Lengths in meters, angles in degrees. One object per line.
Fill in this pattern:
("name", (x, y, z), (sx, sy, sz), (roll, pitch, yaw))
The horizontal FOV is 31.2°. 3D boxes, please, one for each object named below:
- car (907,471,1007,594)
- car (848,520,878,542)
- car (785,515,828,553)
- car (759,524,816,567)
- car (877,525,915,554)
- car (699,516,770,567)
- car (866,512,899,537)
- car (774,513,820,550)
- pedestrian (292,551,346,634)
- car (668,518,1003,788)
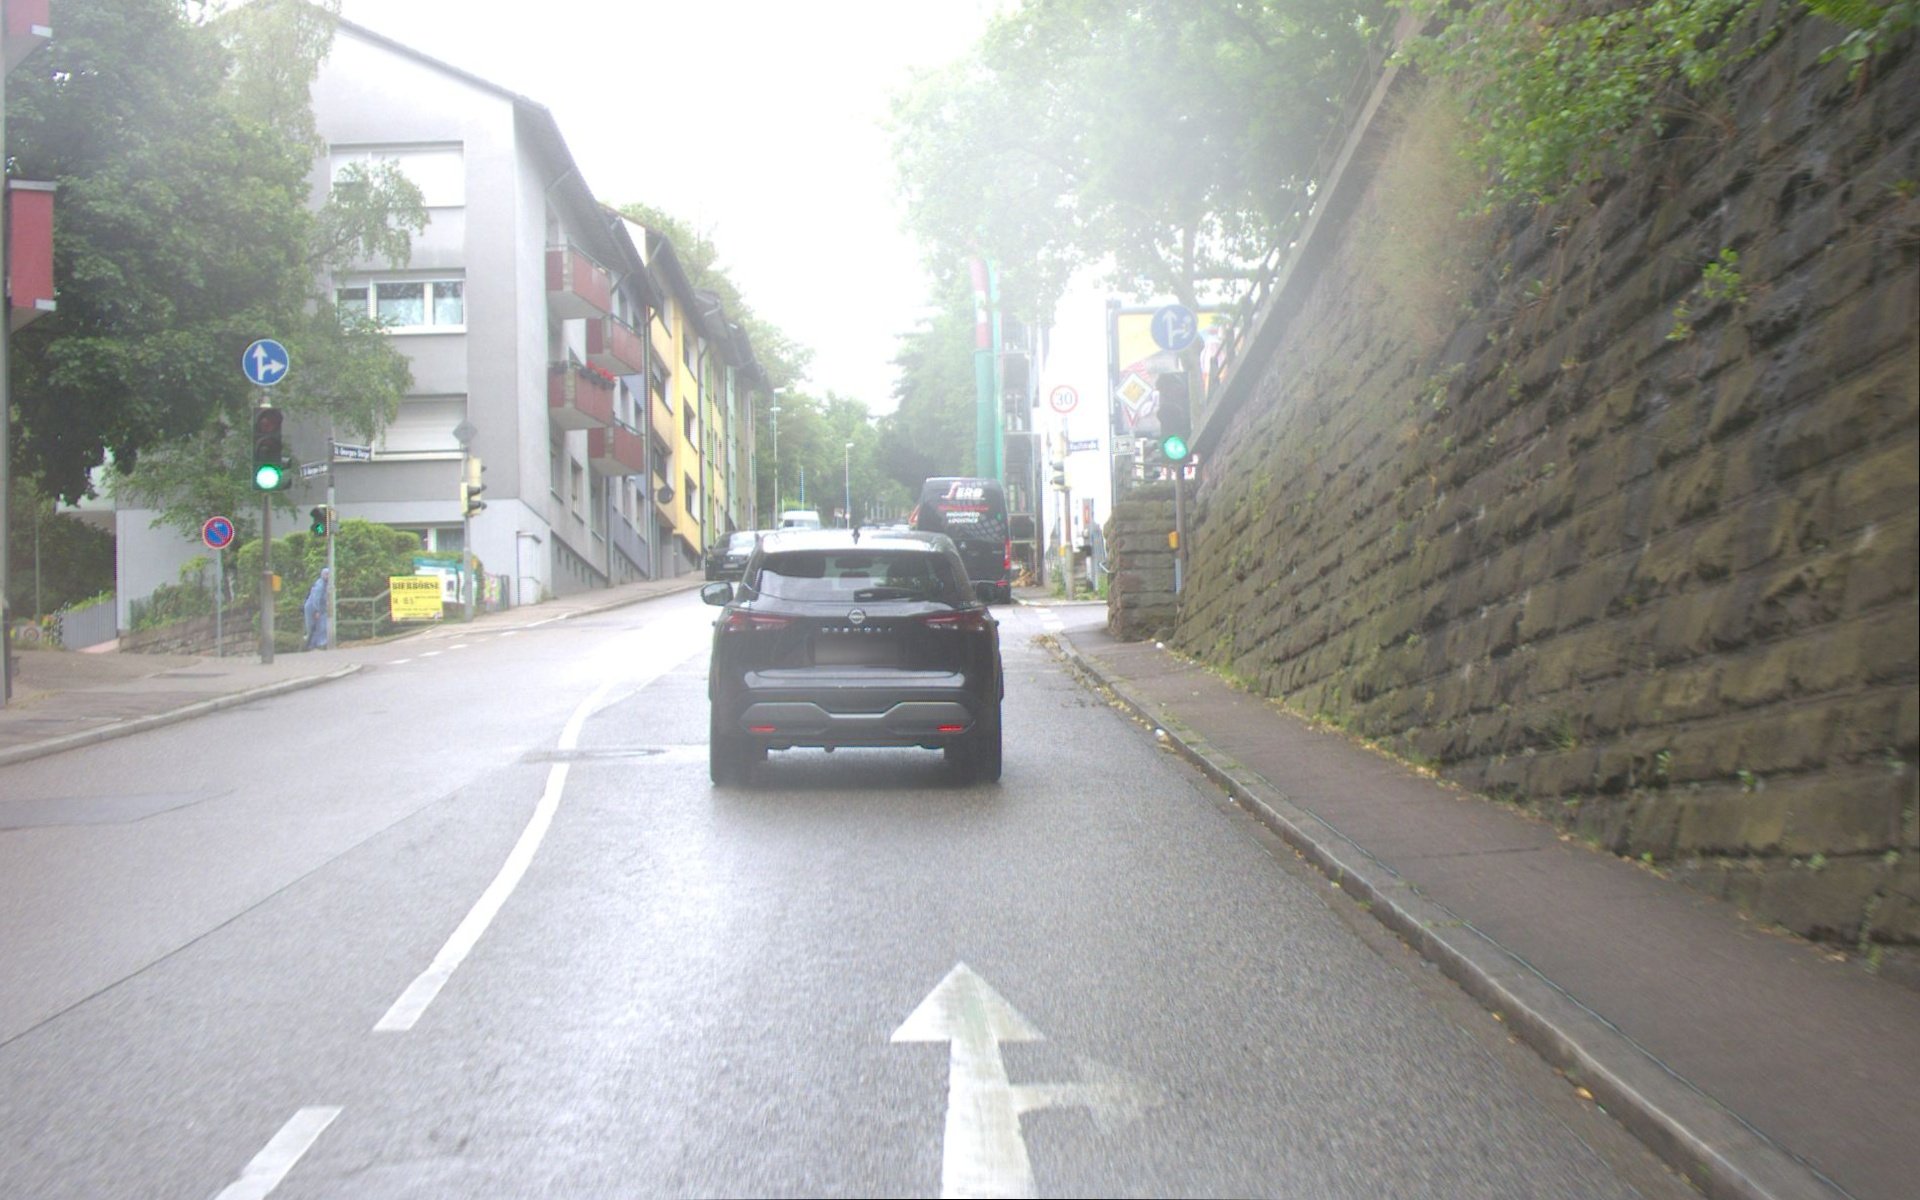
("car", (-0.018, -1.351, 71.574), (1.993, 2.405, 5.836), (0, -1, 1))
("car", (-6.967, -4.977, 247.224), (2.074, 1.554, 4.001), (-1, 2, -2))
("car", (-7.367, -3.195, 165.501), (1.990, 1.749, 4.481), (-2, 2, -2))
("car", (-7.099, -2.250, 141.837), (1.993, 1.644, 4.442), (-1, 2, 2))
("car", (-3.551, -3.374, 190.696), (2.074, 1.554, 4.001), (-1, 2, -2))
("car", (-7.774, -2.031, 118.924), (1.993, 1.644, 4.442), (-1, 2, 2))
("car", (-4.962, -4.849, 219.553), (2.074, 1.554, 4.001), (-1, 2, -2))
("car", (-7.501, -3.163, 158.751), (1.990, 1.579, 4.306), (-2, 2, -2))
("pedestrian", (-11.977, -0.140, 64.245), (0.869, 1.536, 1.087), (0, -1, -4))
("car", (-0.767, 0.270, 22.476), (1.993, 1.554, 4.001), (0, 2, -1))
